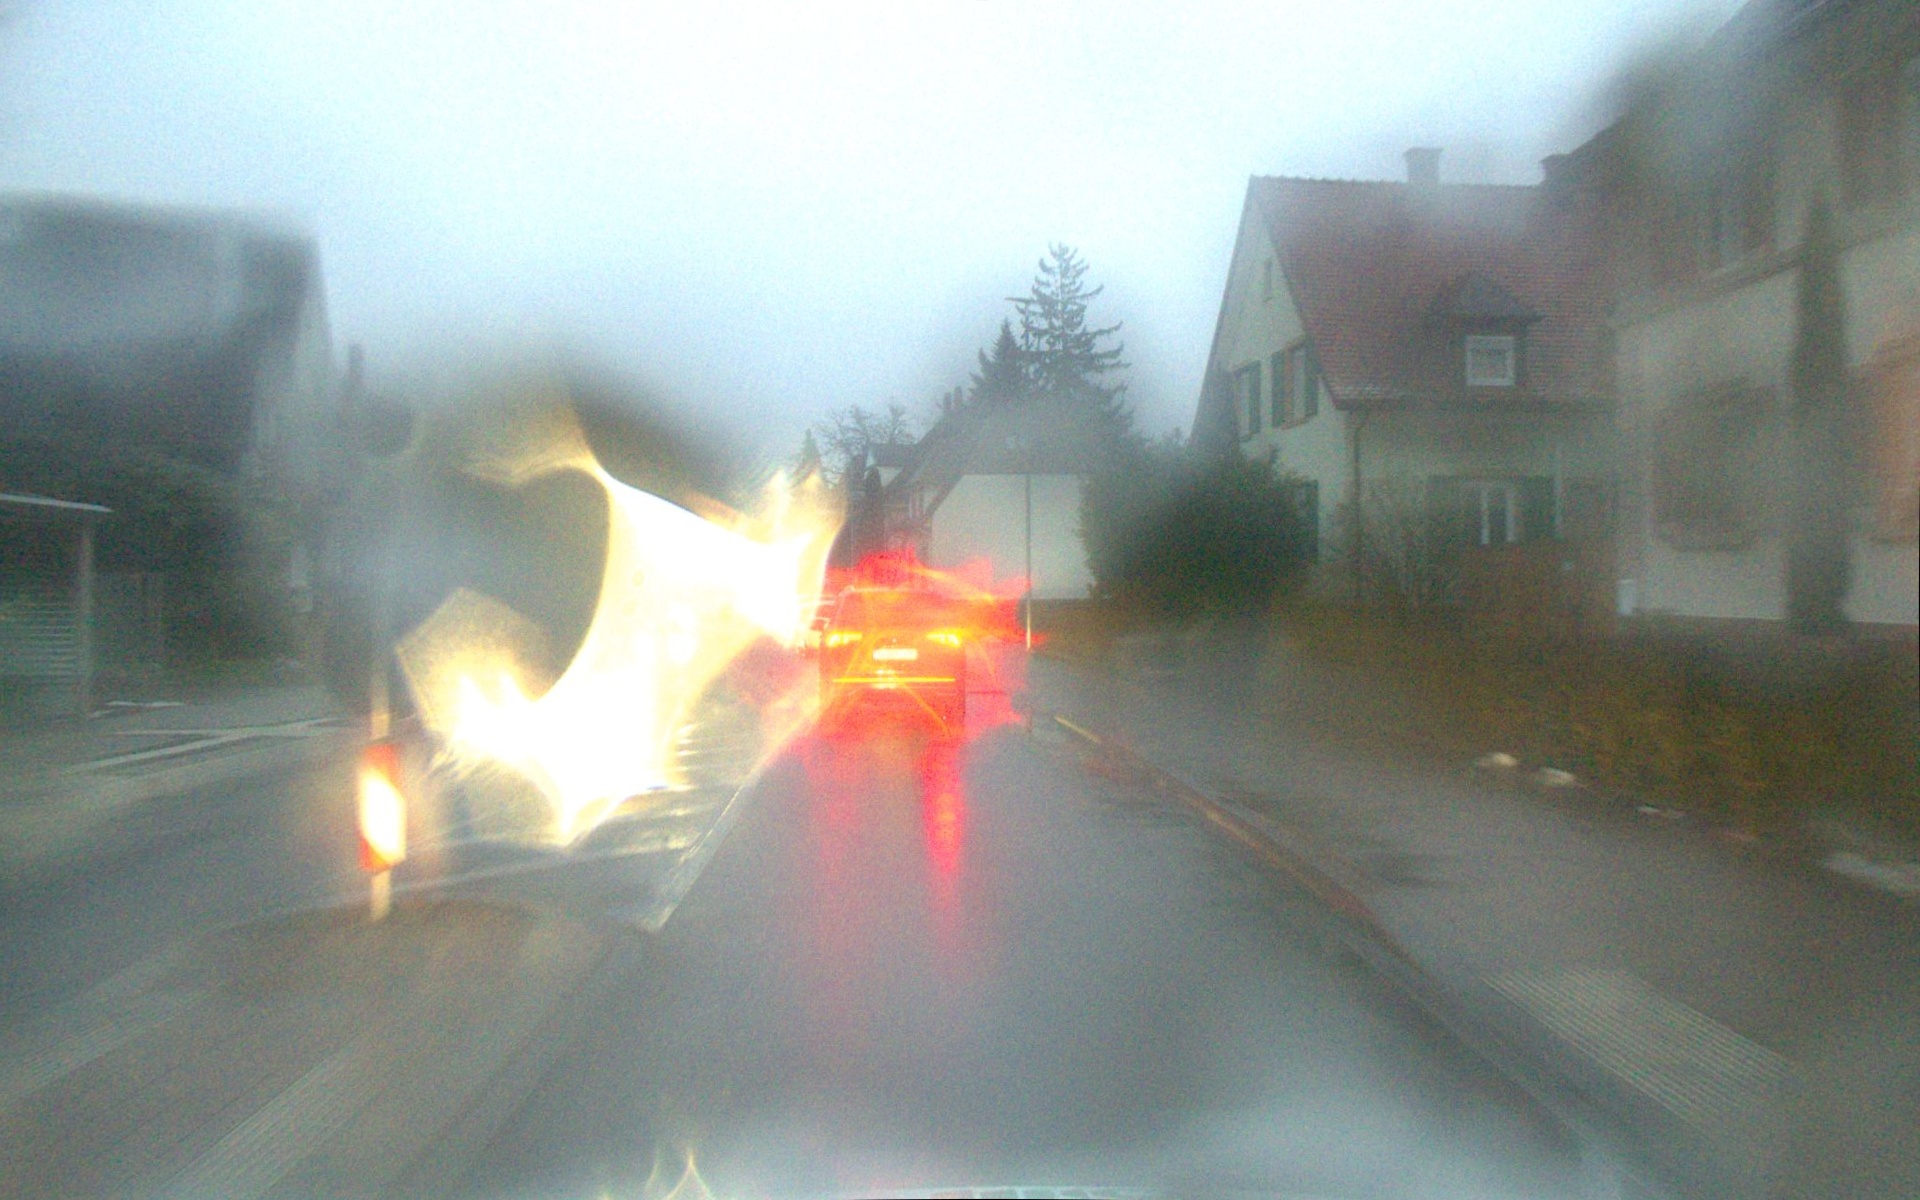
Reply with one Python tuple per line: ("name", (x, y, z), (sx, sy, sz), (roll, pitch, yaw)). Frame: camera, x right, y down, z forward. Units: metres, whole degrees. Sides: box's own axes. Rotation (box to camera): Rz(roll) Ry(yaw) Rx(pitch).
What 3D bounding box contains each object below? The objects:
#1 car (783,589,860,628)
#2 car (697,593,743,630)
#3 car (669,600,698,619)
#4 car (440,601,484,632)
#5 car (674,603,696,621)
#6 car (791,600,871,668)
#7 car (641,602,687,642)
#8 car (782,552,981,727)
("car", (-7.736, 0.457, 92.351), (4.166, 2.049, 1.808), (-1, 0, -7))
("car", (-13.326, 0.630, 91.631), (2.269, 1.972, 5.003), (-1, 0, -12))
("car", (-20.247, 0.668, 120.992), (1.811, 1.355, 3.924), (-1, 0, -13))
("car", (-24.243, 0.806, 80.438), (1.752, 1.417, 3.974), (2, -1, -21))
("car", (-25.330, 1.104, 152.384), (1.877, 1.549, 3.993), (0, 2, -9))
("car", (-3.450, 0.849, 43.783), (1.823, 1.676, 3.992), (0, 0, -9))
("car", (-12.342, 0.896, 69.105), (1.790, 1.581, 3.991), (-2, 0, -9))
("car", (-1.086, 0.473, 21.496), (2.264, 1.972, 5.013), (-1, 0, -4))
